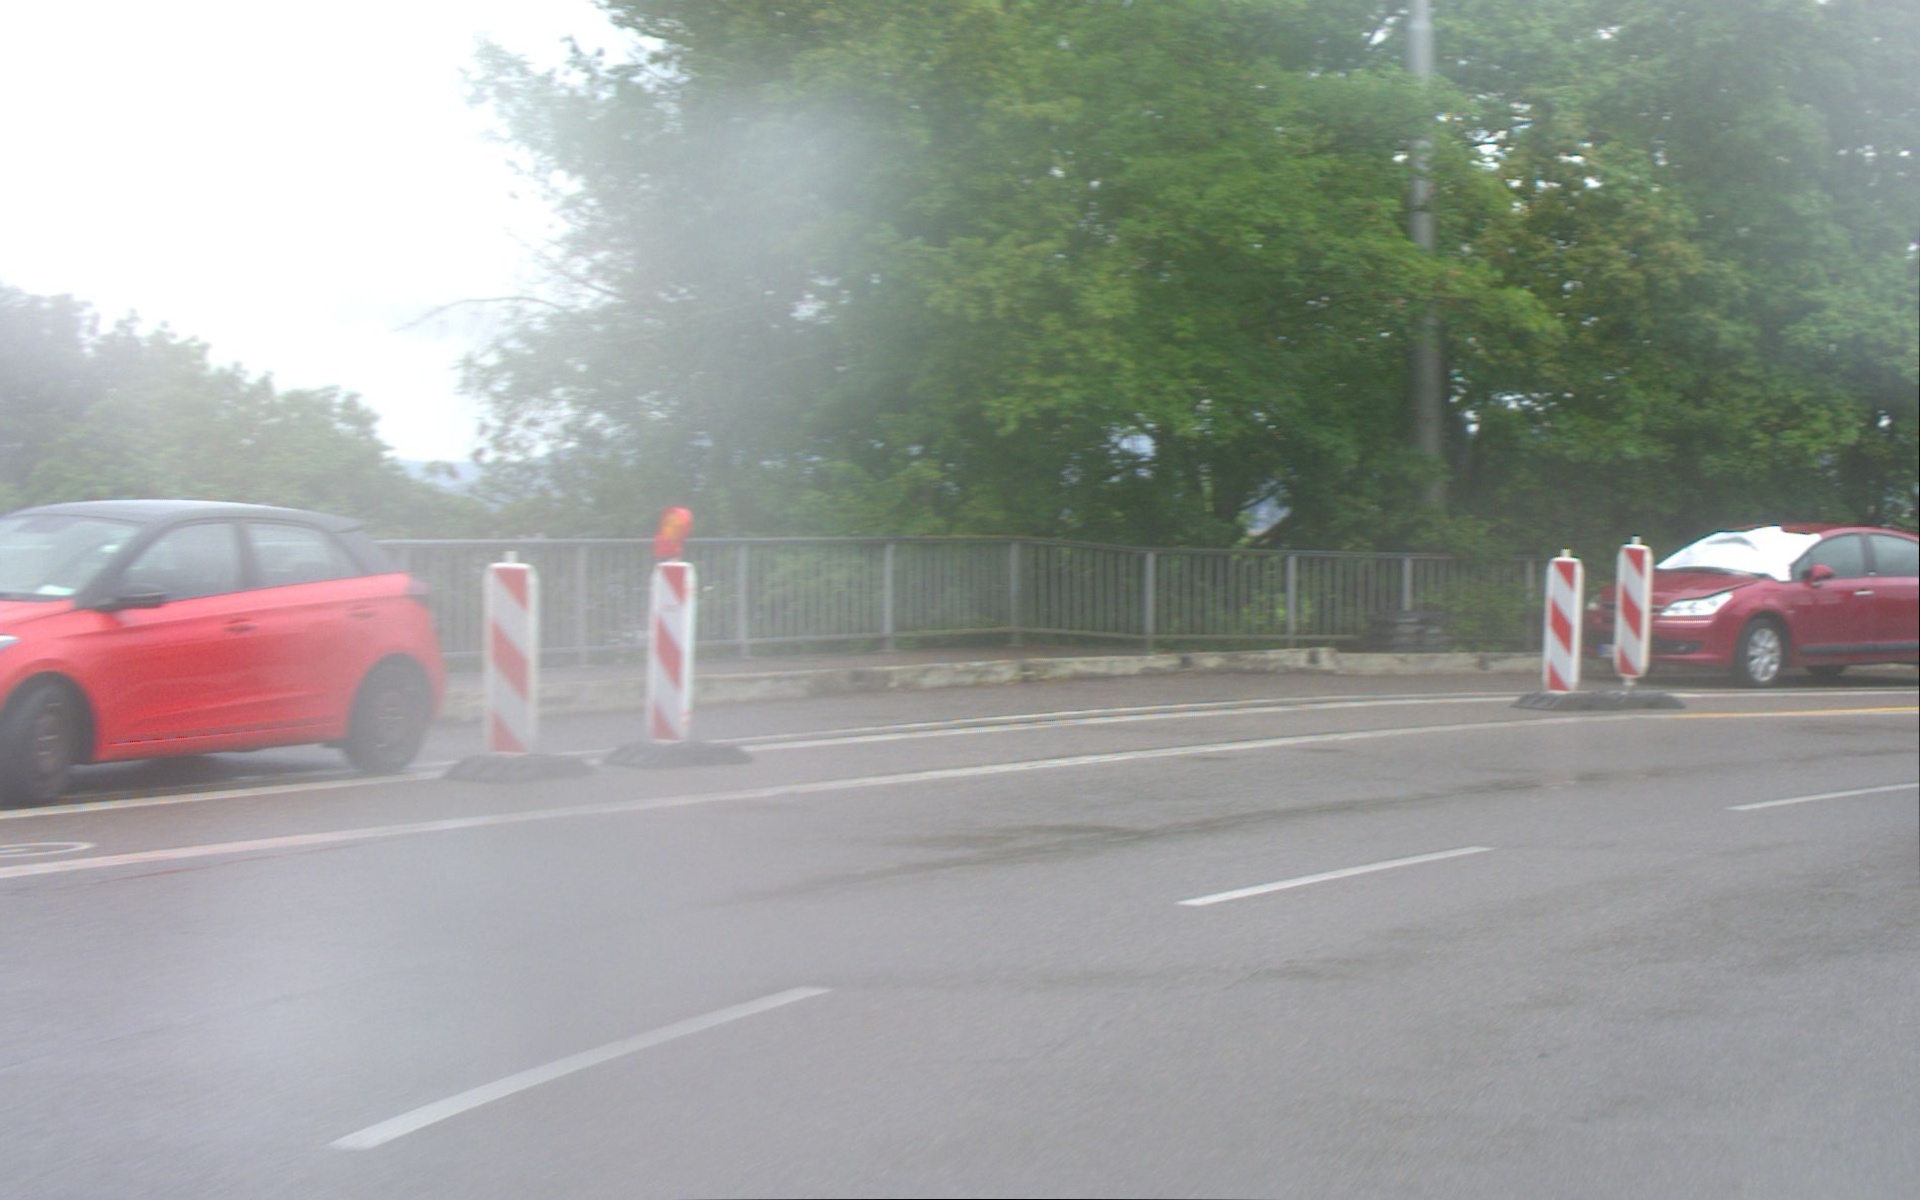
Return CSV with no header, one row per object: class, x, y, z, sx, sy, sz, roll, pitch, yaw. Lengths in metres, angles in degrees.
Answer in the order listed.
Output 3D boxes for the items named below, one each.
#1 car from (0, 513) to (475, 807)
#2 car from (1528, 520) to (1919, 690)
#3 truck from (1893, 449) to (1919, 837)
car,-4.529,0.268,17.991,1.688,1.393,4.129,1,1,32
car,7.586,0.019,32.095,4.309,1.435,1.966,0,3,-34
truck,7.093,0.236,19.085,1.998,2.007,4.724,1,1,38
